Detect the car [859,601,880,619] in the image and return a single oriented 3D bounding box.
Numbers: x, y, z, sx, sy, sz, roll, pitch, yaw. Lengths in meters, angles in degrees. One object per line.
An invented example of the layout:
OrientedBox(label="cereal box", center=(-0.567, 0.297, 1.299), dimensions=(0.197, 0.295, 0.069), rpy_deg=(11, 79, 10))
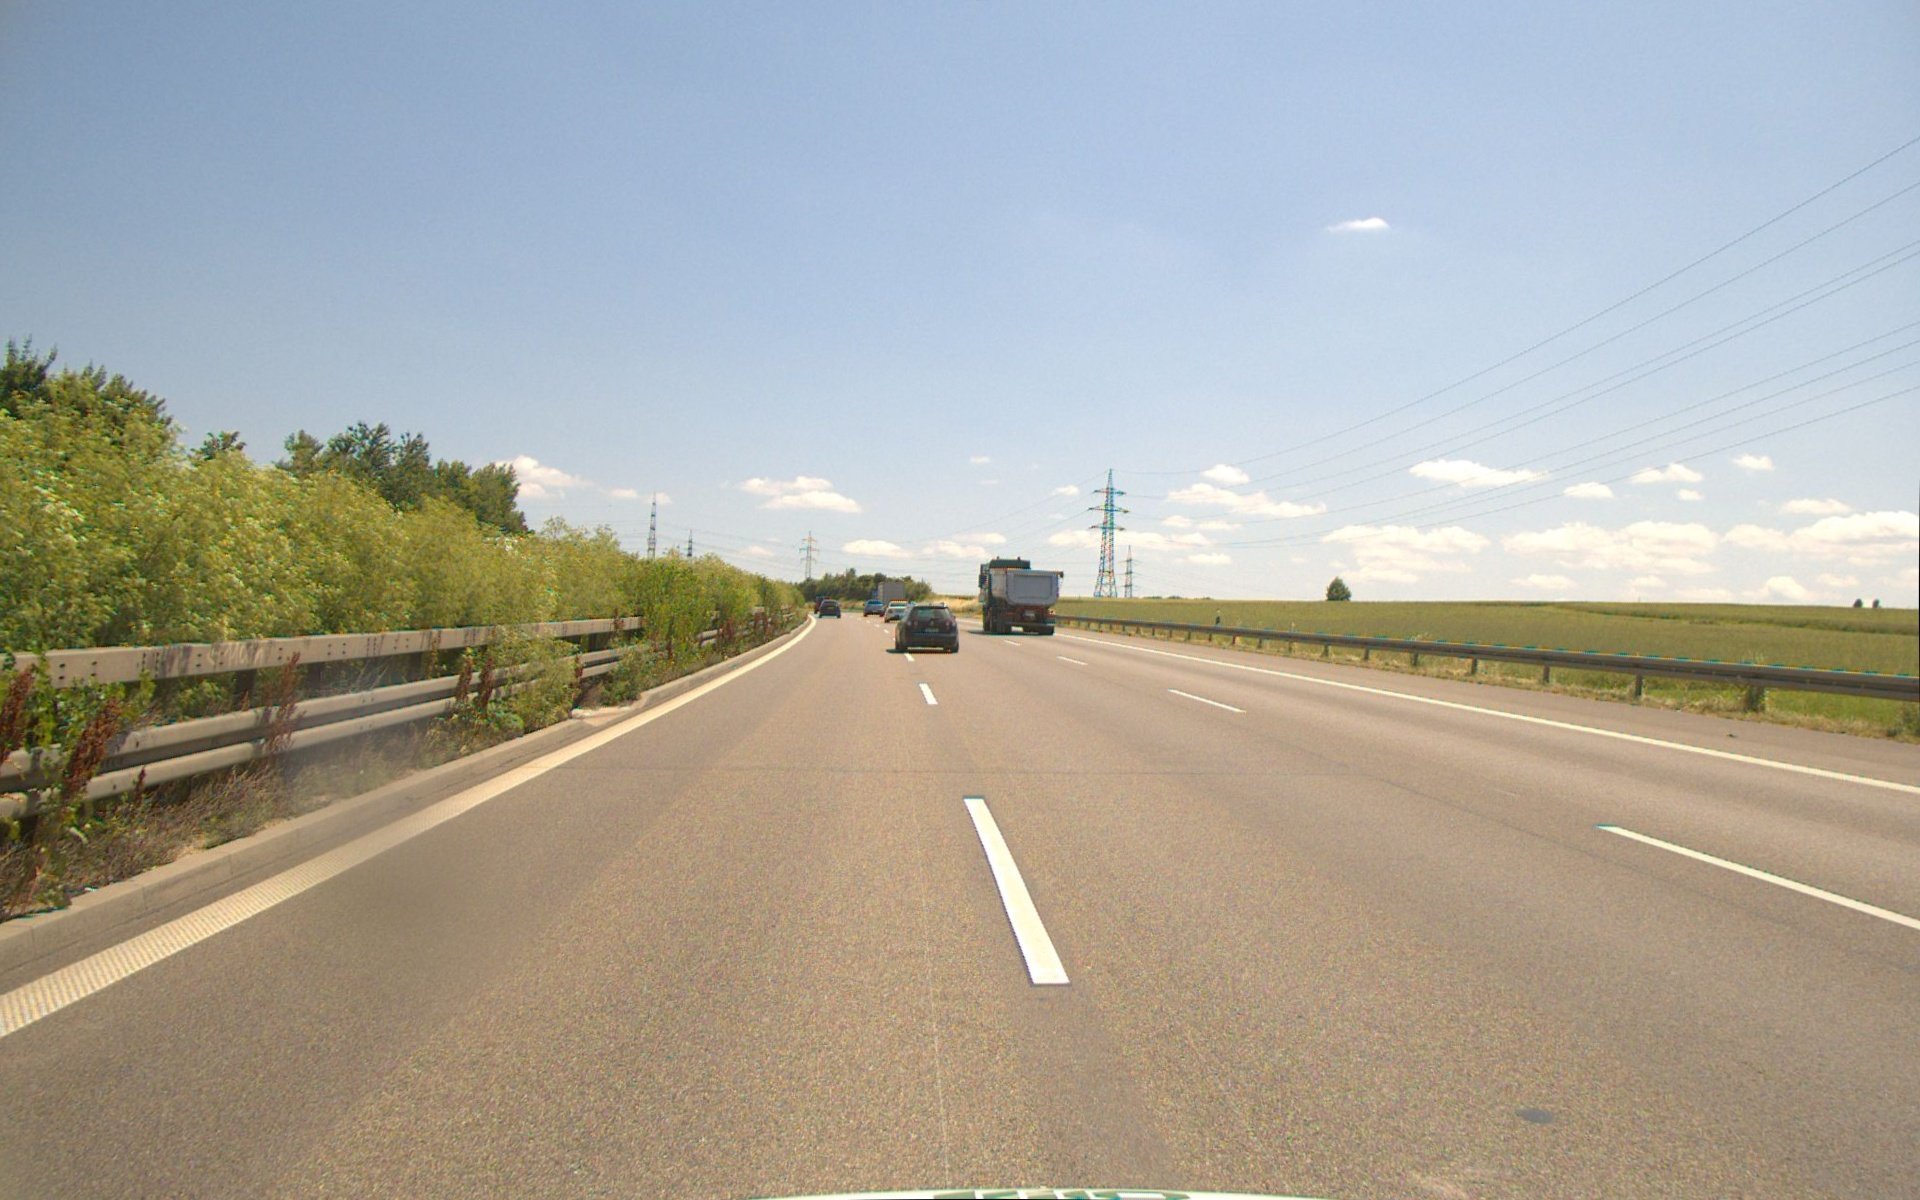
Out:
OrientedBox(label="car", center=(-8.330, 0.905, 152.089), dimensions=(1.803, 1.568, 3.909), rpy_deg=(1, 0, -6))

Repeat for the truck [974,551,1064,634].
OrientedBox(label="truck", center=(2.772, -0.320, 82.896), dimensions=(2.810, 3.789, 12.747), rpy_deg=(1, 0, -6))

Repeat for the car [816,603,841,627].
OrientedBox(label="car", center=(-10.779, 1.245, 135.347), dimensions=(1.954, 1.892, 3.997), rpy_deg=(1, 0, -4))

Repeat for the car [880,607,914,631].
OrientedBox(label="car", center=(-4.290, 1.281, 112.364), dimensions=(1.787, 1.568, 3.904), rpy_deg=(1, 0, -11))

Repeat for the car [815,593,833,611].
OrientedBox(label="car", center=(-14.627, 0.211, 177.320), dimensions=(1.865, 1.959, 3.995), rpy_deg=(1, 0, -6))

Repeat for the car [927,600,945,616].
OrientedBox(label="car", center=(-2.840, 0.958, 195.063), dimensions=(1.954, 1.885, 3.998), rpy_deg=(1, 0, -3))

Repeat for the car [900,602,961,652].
OrientedBox(label="car", center=(-0.939, 0.794, 50.352), dimensions=(1.721, 1.454, 3.998), rpy_deg=(1, 0, -3))

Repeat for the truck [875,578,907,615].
OrientedBox(label="truck", center=(-7.844, -0.360, 186.513), dimensions=(3.158, 3.993, 9.051), rpy_deg=(1, -1, -5))

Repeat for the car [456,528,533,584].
OrientedBox(label="car", center=(-22.231, -2.052, 79.256), dimensions=(2.520, 2.495, 5.507), rpy_deg=(1, 0, -5))
